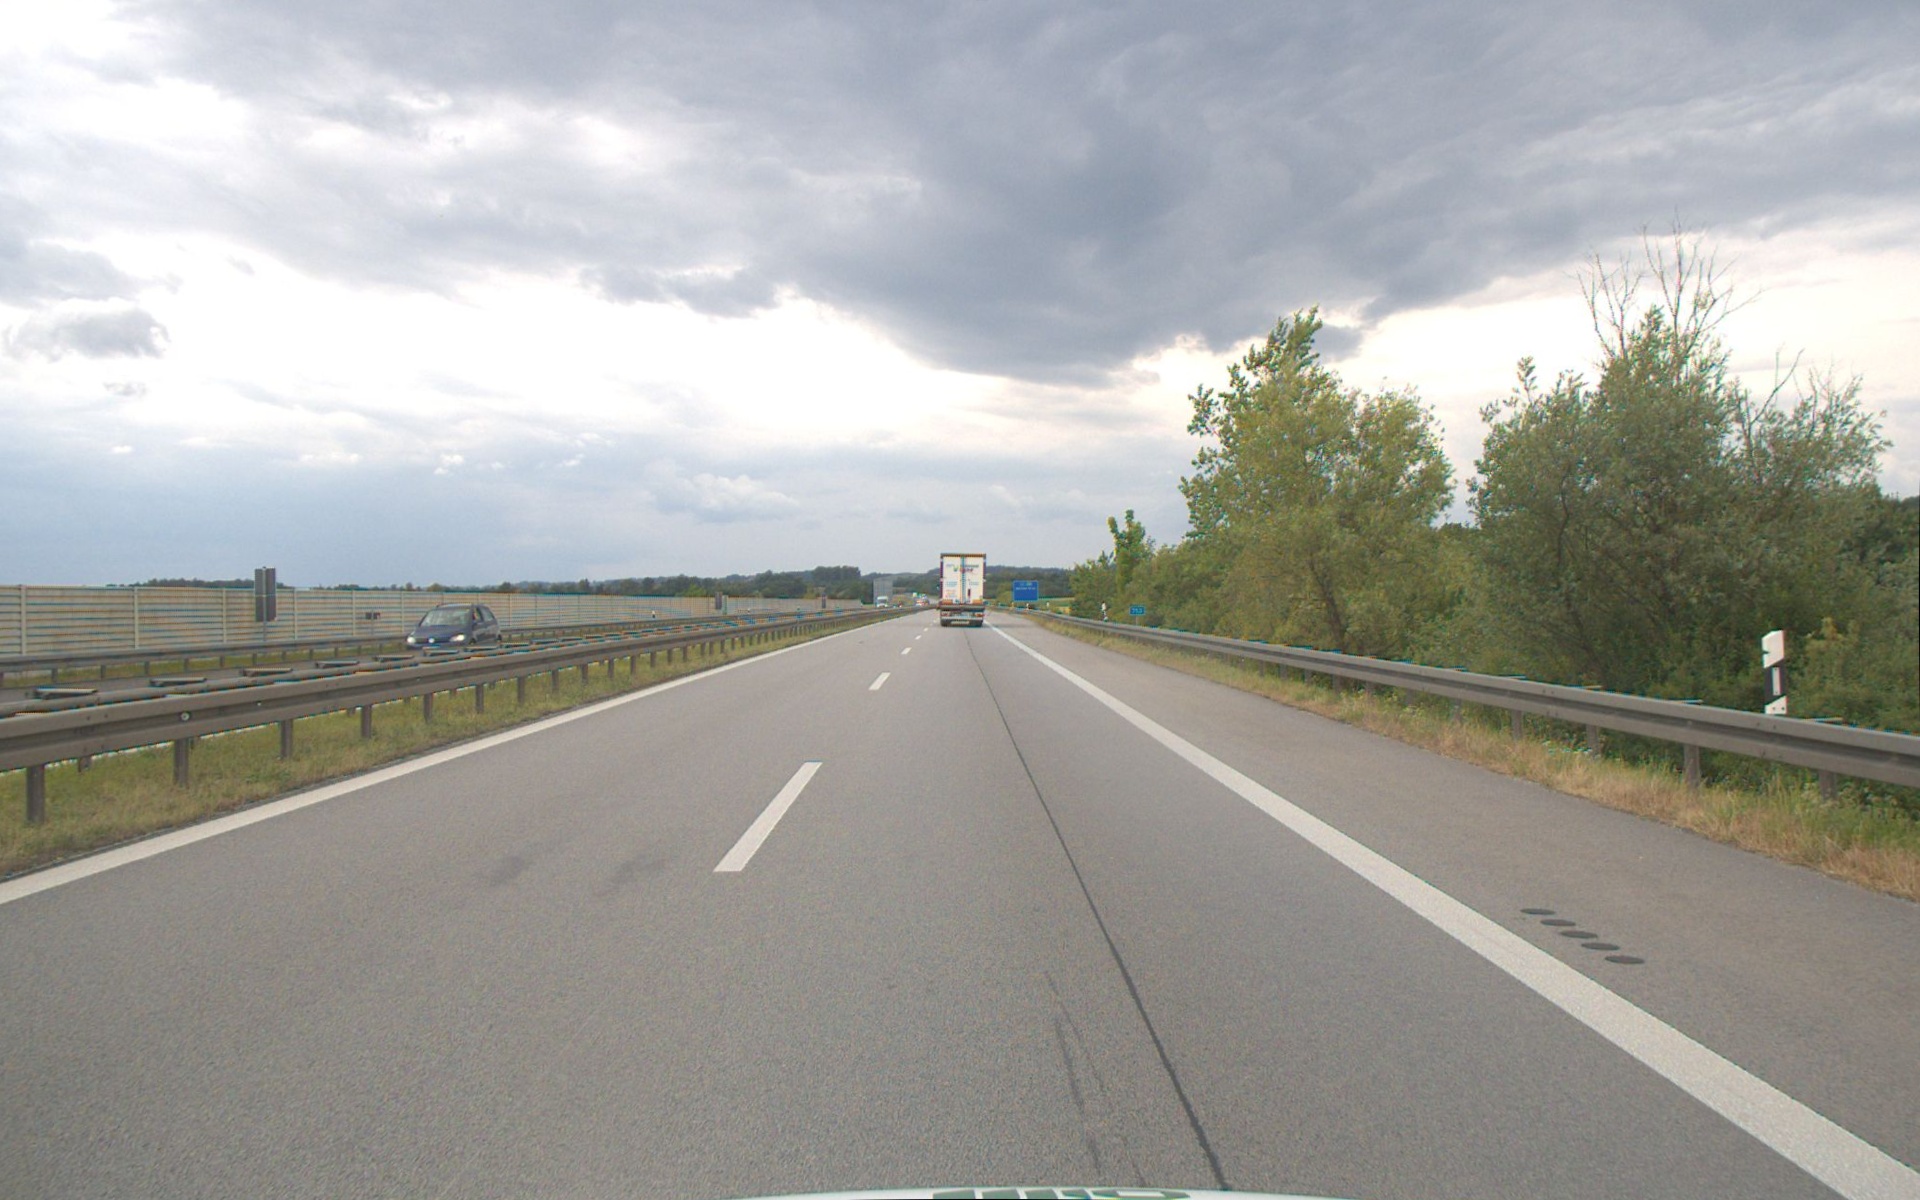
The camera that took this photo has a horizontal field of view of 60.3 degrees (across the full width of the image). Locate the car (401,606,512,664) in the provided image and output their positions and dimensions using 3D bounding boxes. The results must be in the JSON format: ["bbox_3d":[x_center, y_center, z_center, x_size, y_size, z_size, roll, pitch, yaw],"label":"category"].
[{"bbox_3d":[-13.814,0.920,45.631,1.625,1.351,4.608,-4,0,-1],"label":"car"}]

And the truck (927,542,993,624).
[{"bbox_3d":[-0.122,-0.938,99.990,3.598,4.489,16.337,-1,0,-1],"label":"truck"}]
